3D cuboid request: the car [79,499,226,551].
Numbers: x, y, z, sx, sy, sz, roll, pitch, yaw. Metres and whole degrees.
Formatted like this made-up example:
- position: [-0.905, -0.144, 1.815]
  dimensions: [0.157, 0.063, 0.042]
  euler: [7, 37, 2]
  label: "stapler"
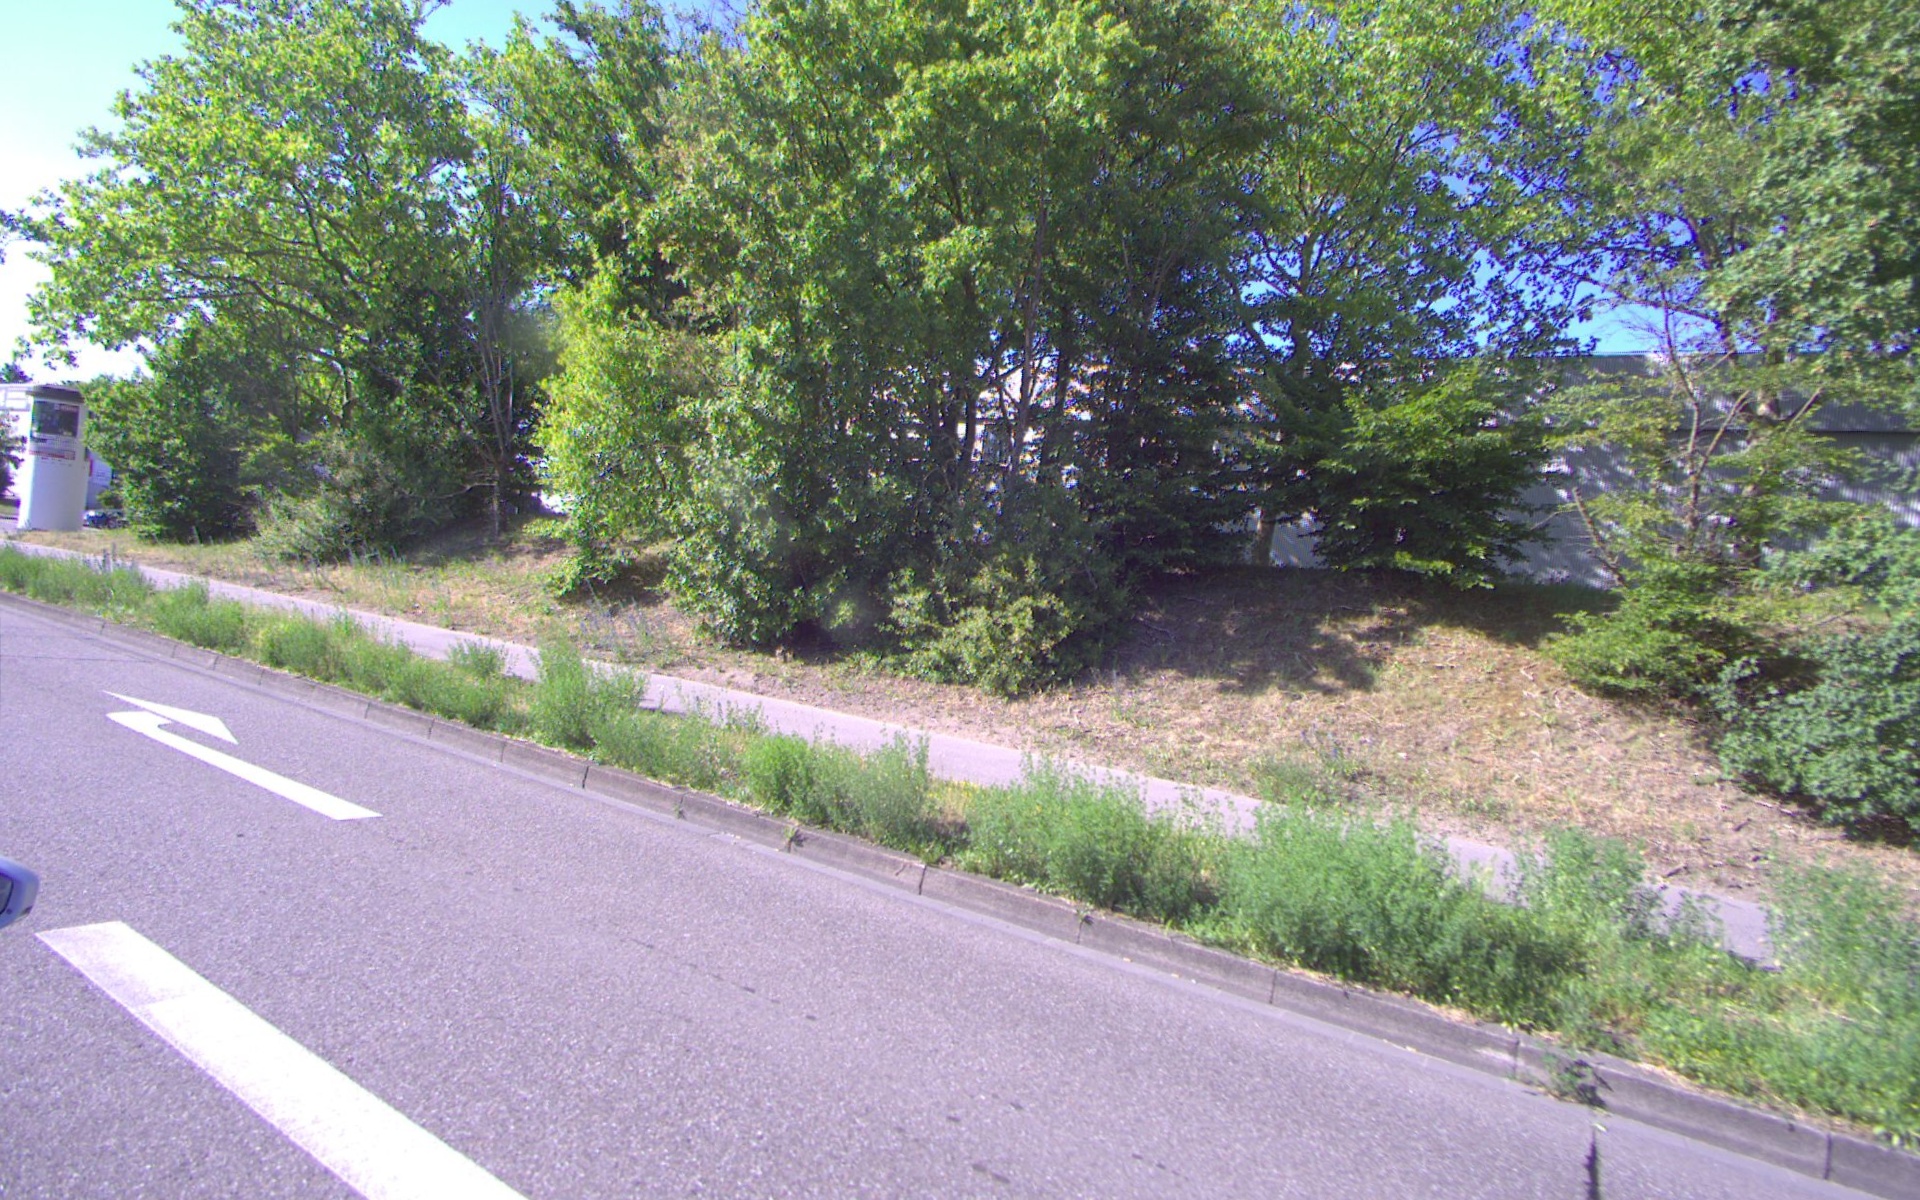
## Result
- position: [-36.849, -3.390, 46.055]
  dimensions: [1.729, 1.484, 4.830]
  euler: [6, -2, 30]
  label: "car"
